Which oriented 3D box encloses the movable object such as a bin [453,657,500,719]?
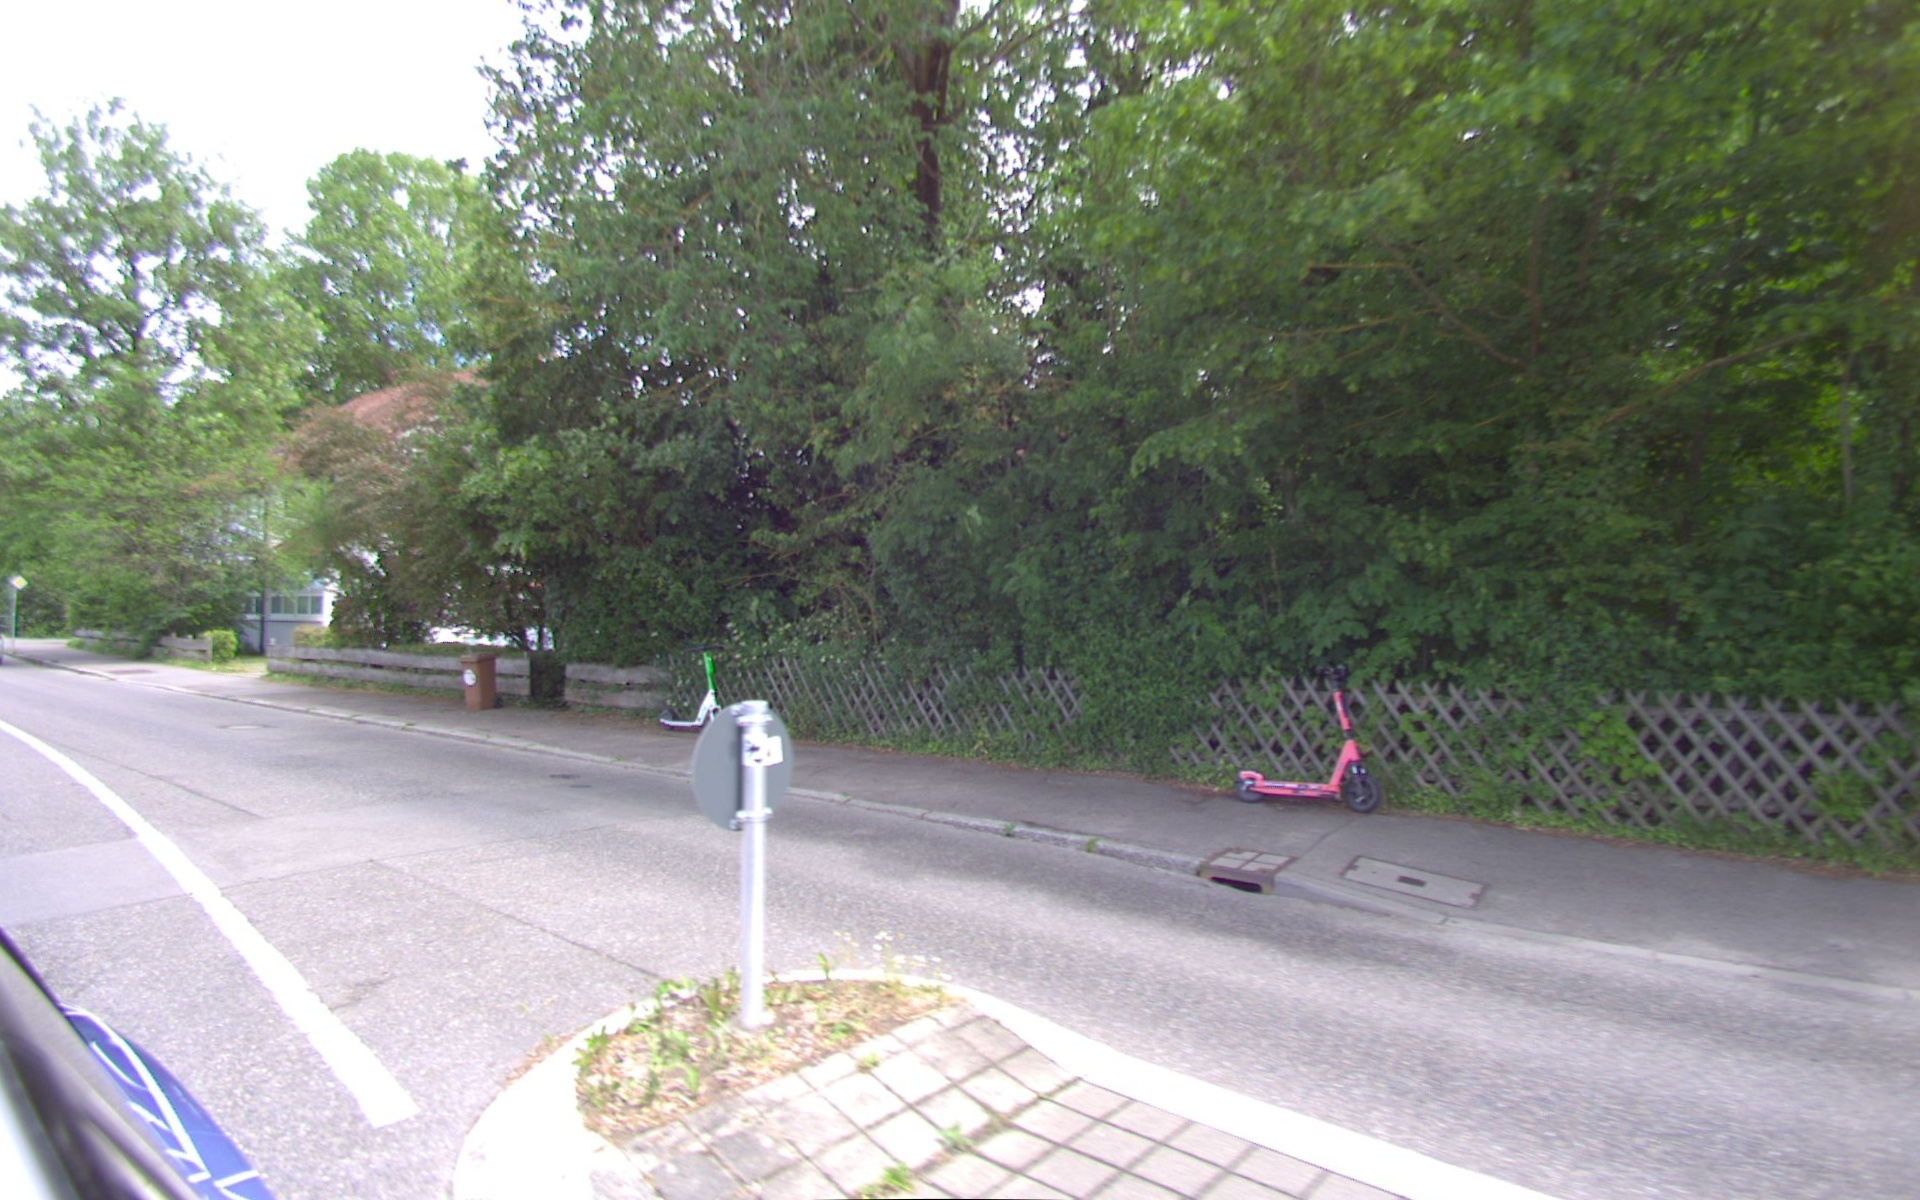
[{"bbox_3d":[-7.896,1.425,16.531,0.568,0.952,0.508,-1,-1,41],"label":"movable object such as a bin"}]

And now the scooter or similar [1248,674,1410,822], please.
[{"bbox_3d":[3.001,1.176,8.263,1.206,1.089,0.475,-1,-1,23],"label":"scooter or similar"}]

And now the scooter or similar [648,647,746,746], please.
[{"bbox_3d":[-3.486,1.237,13.350,1.639,1.208,0.404,-1,-2,42],"label":"scooter or similar"}]

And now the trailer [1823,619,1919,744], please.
[{"bbox_3d":[12.276,0.965,12.234,1.723,1.453,3.492,0,-2,21],"label":"trailer"}]
